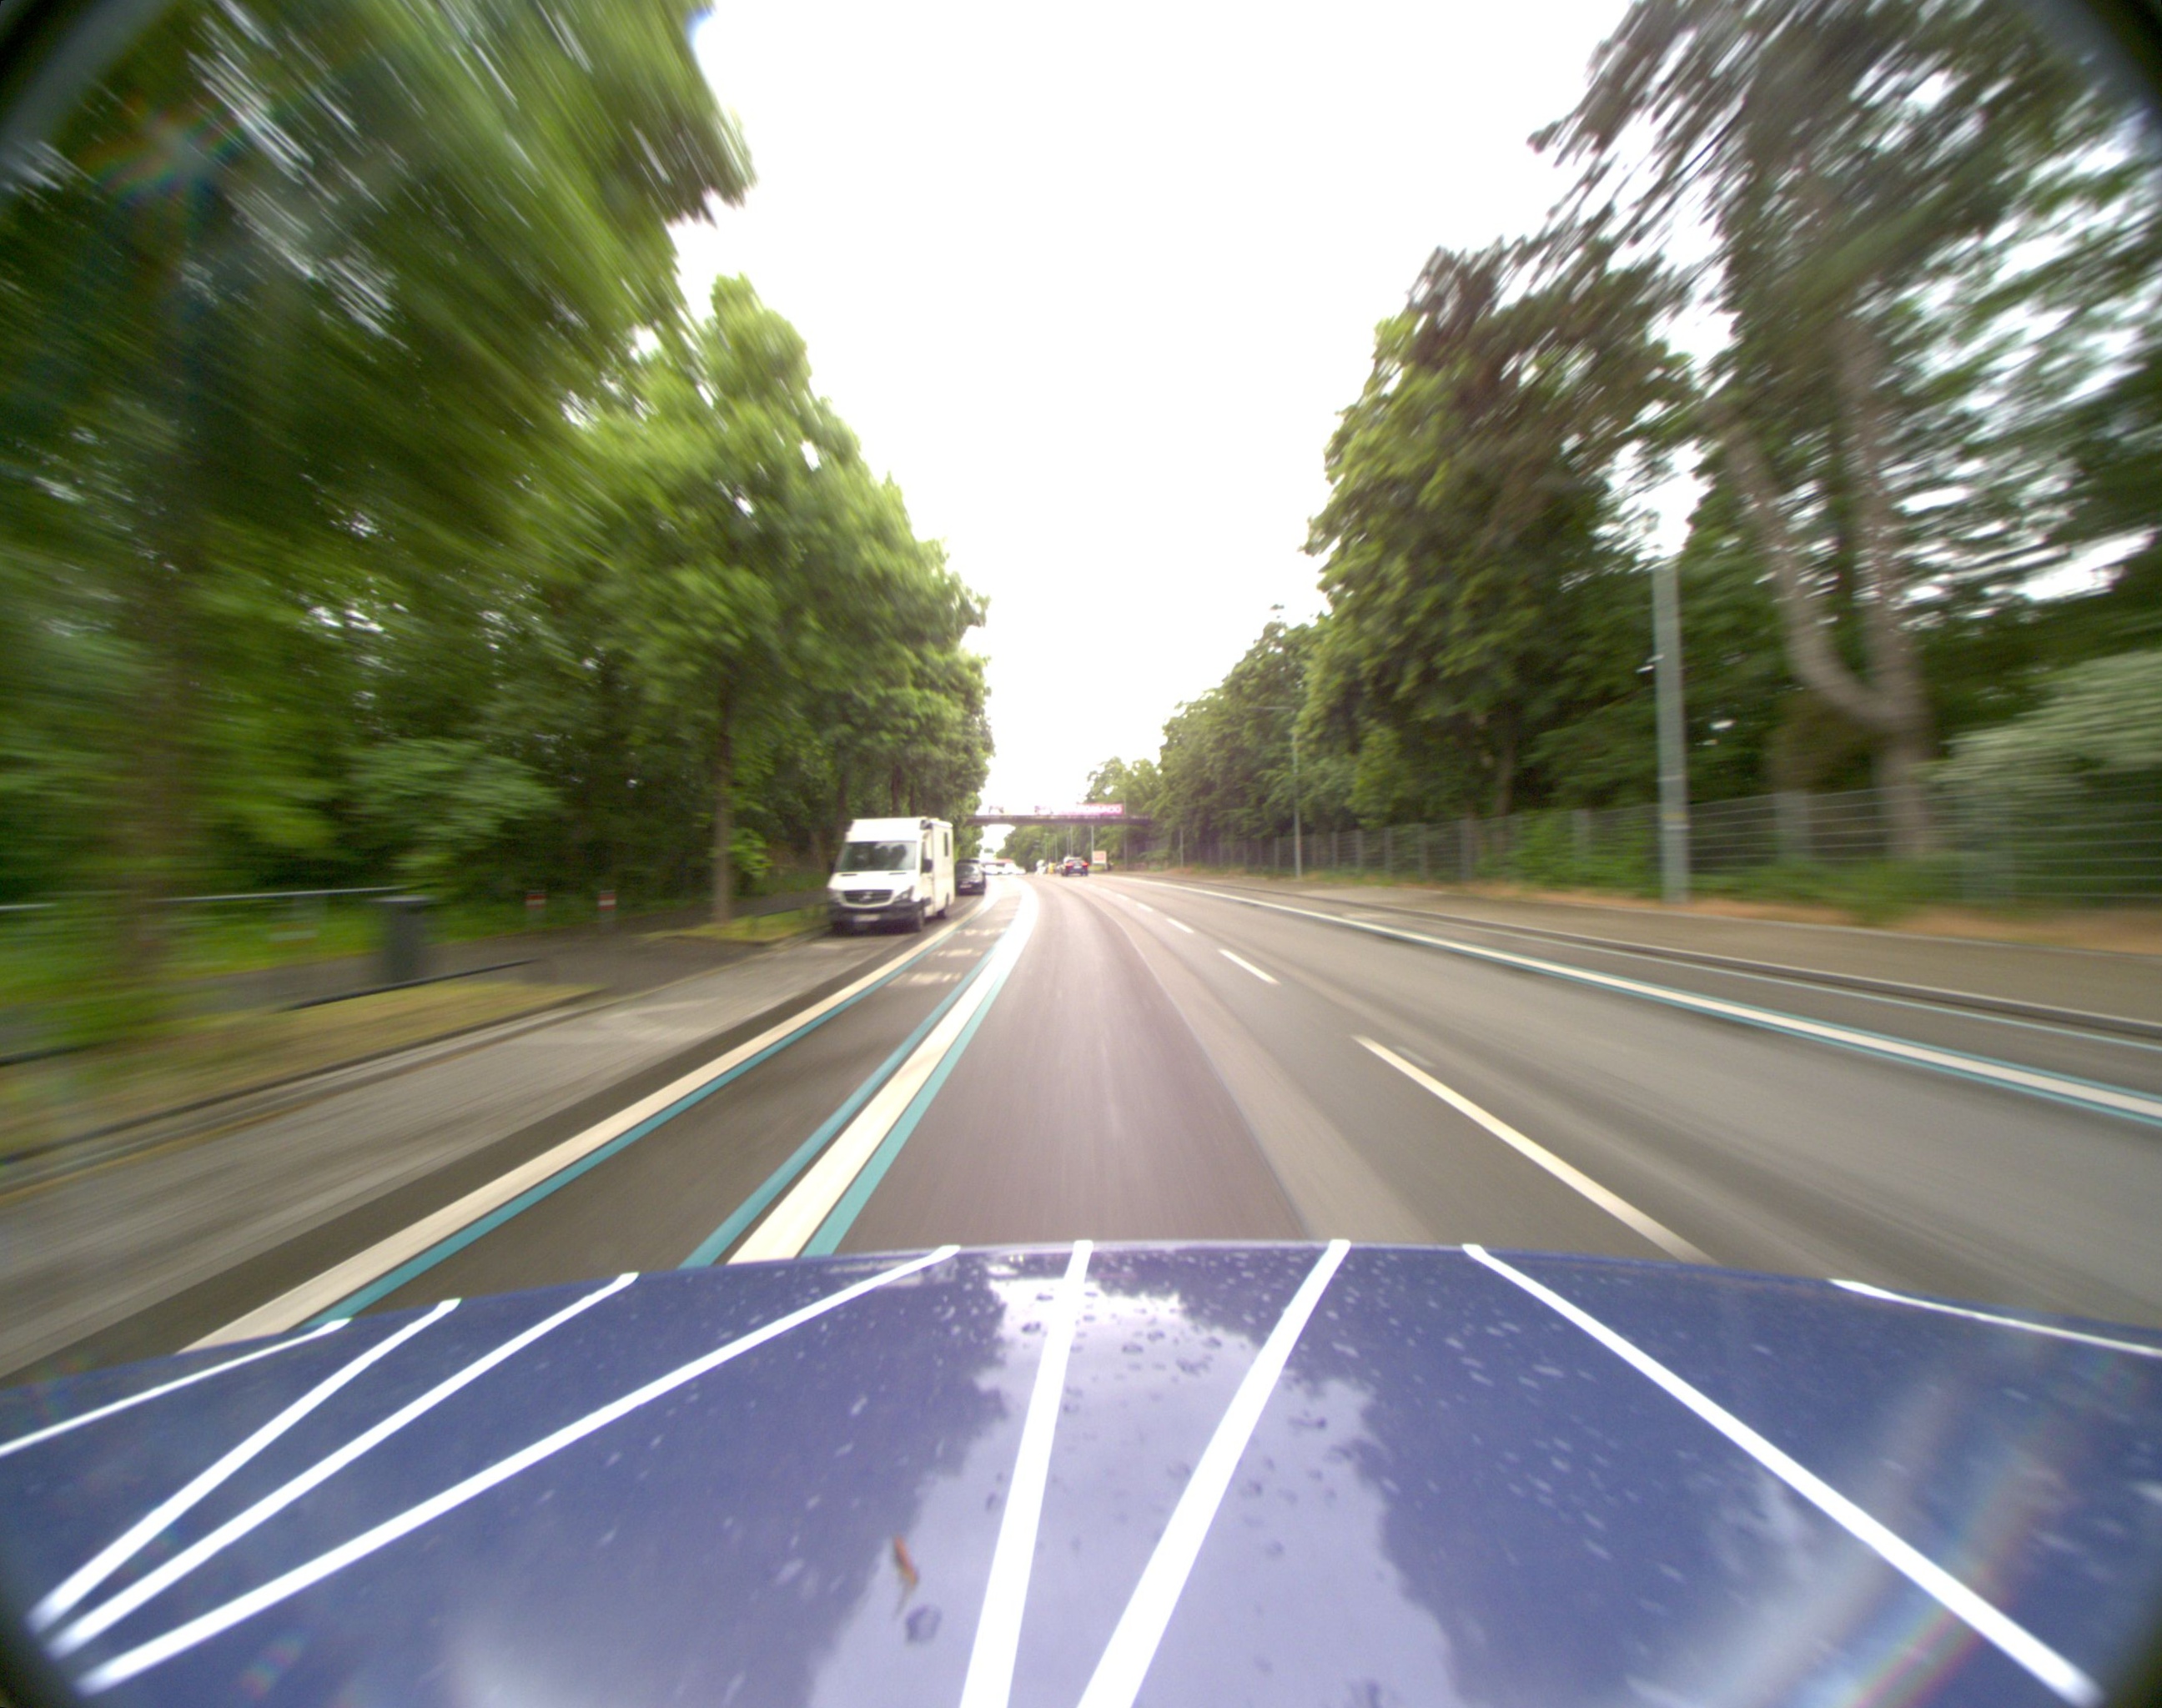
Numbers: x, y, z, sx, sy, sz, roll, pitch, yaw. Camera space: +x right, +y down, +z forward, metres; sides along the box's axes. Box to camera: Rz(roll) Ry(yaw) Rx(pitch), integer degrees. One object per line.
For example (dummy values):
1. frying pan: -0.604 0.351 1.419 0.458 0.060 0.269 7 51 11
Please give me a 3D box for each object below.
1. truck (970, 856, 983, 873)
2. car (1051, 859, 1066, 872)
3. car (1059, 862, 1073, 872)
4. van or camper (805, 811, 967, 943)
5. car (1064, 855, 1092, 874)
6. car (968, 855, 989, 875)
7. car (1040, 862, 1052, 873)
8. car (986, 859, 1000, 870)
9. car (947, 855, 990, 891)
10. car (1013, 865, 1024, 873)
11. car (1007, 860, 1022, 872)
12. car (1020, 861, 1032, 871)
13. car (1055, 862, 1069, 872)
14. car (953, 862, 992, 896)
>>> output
1. truck: -14.740 1.490 107.401 1.724 2.319 3.998 -1 -1 -8
2. car: -3.695 1.897 123.425 2.000 1.901 4.843 -1 -2 -8
3. car: -2.304 1.912 113.052 1.613 1.437 4.036 0 -2 -8
4. van or camper: -4.532 0.474 18.965 2.323 2.649 6.381 -2 0 0
5. car: -0.278 0.838 61.574 1.765 1.428 4.148 -2 0 -7
6. car: -8.891 0.912 65.818 1.719 1.609 4.257 -1 0 -9
7. car: -6.758 2.635 145.427 1.878 1.965 4.733 0 -2 -9
8. car: -12.363 1.504 106.222 1.727 1.389 4.589 -1 -2 -8
9. car: -5.913 0.951 40.435 1.999 1.636 4.345 -4 1 -6
10. car: -12.581 2.911 151.935 1.978 1.542 3.867 -1 -1 -8
11. car: -9.153 1.622 104.017 1.829 1.453 3.880 -2 -1 -8
12. car: -9.340 2.047 129.735 1.802 1.567 4.099 -1 0 -7
13. car: -2.973 2.020 117.893 1.715 1.495 4.149 0 -2 -7
14. car: -5.099 1.116 35.683 1.683 1.368 3.996 -2 1 -8
